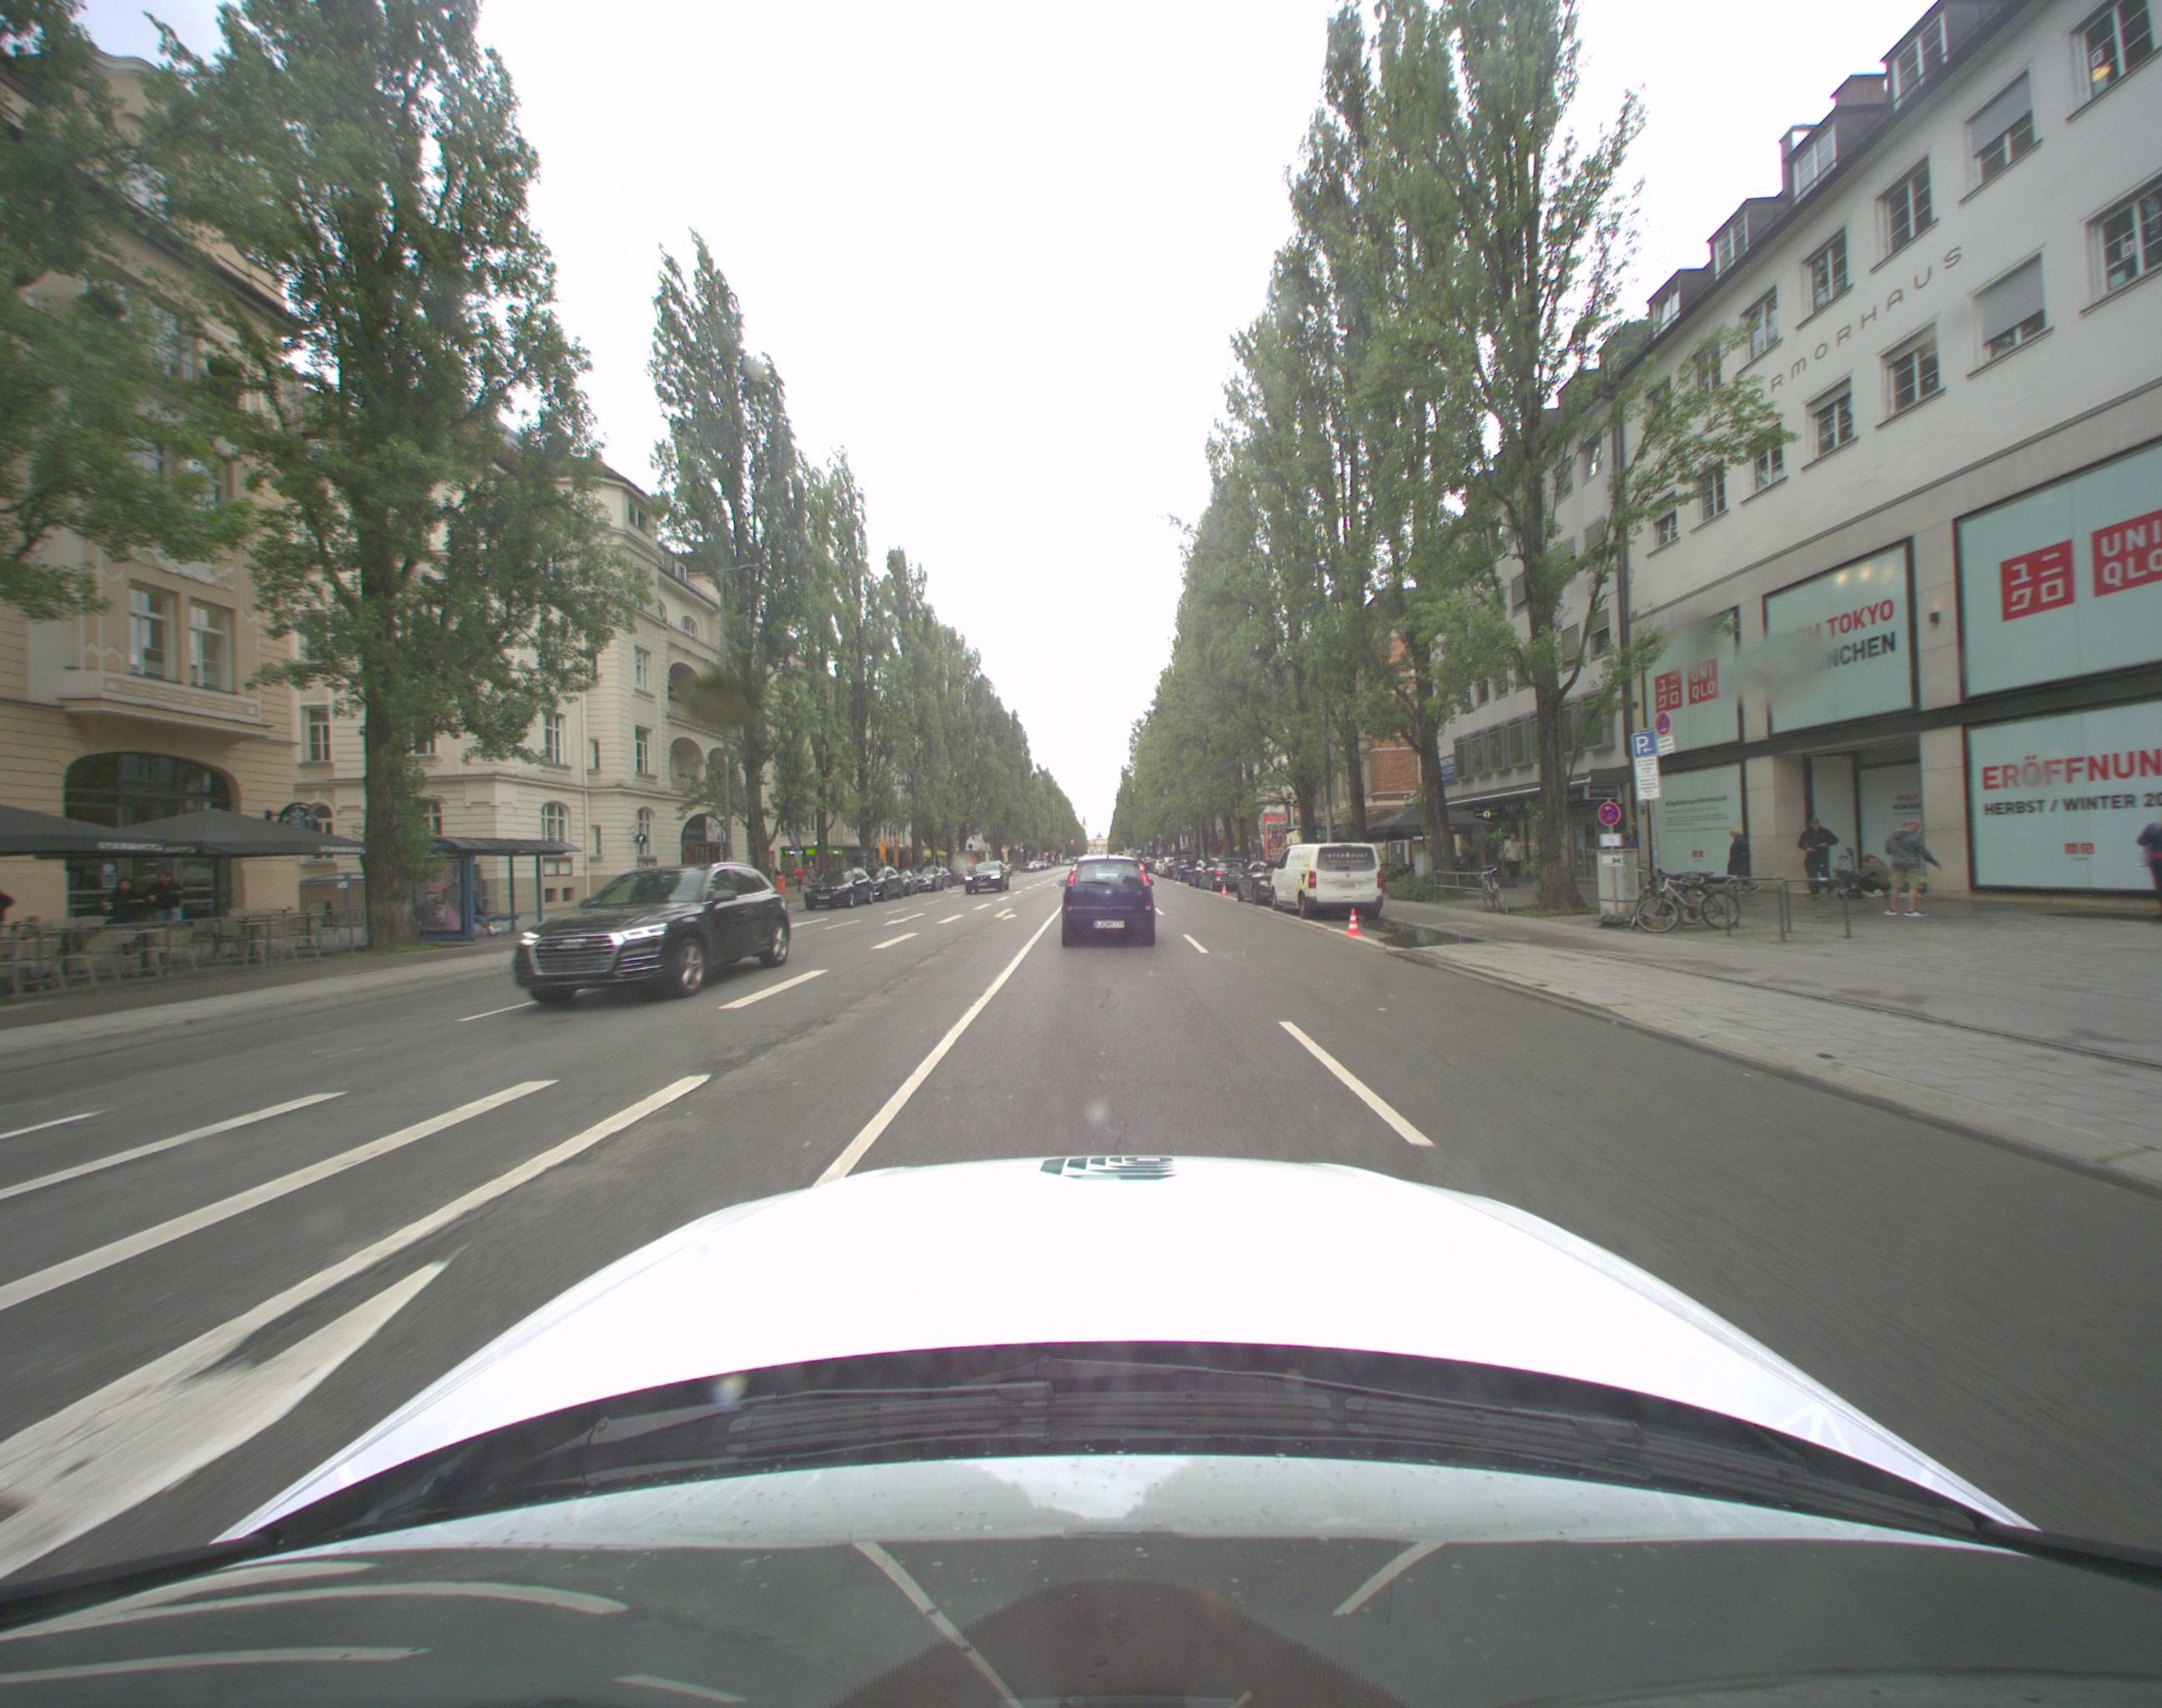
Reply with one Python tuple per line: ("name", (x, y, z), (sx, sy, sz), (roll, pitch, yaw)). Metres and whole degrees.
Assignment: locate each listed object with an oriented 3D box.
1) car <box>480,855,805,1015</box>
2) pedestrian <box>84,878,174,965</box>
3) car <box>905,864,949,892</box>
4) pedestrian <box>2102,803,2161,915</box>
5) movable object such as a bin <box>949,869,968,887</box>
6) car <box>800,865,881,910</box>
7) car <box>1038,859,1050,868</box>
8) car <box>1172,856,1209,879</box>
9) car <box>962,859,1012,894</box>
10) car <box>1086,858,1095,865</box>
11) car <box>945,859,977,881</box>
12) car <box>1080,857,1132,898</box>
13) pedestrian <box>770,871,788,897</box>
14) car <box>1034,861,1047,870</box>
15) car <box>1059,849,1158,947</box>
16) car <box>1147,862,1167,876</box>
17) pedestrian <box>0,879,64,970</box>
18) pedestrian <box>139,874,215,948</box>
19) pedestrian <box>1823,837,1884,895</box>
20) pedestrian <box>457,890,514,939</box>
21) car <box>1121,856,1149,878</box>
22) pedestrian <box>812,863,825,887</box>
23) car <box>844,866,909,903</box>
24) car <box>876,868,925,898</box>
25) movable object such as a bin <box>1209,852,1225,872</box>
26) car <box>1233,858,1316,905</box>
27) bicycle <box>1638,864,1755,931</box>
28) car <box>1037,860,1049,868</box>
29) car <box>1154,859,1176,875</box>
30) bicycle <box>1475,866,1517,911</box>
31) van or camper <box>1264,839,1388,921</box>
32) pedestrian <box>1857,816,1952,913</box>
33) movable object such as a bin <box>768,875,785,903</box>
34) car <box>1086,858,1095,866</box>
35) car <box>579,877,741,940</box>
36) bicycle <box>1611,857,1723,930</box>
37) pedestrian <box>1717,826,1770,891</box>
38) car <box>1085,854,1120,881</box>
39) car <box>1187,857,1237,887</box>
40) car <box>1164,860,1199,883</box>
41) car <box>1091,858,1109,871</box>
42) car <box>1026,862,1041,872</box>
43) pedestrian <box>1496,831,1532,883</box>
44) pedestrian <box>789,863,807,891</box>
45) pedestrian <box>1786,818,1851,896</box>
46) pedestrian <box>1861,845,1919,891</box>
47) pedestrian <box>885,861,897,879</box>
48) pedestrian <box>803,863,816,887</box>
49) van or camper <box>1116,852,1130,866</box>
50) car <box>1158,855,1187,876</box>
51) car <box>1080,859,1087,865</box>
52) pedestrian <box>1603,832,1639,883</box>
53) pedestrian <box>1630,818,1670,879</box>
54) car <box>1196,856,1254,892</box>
("car", (-5.632, 0.902, 11.315), (1.906, 1.680, 4.587), (-2, 0, 1))
("pedestrian", (-19.685, 1.382, 16.864), (0.901, 1.744, 0.822), (-1, -1, 6))
("car", (-9.379, 1.428, 49.789), (1.775, 1.575, 4.133), (-2, 0, 1))
("pedestrian", (16.363, 0.069, 12.286), (0.649, 1.663, 0.963), (-2, -1, 2))
("movable object such as a bin", (-9.227, 1.817, 61.174), (1.272, 1.310, 0.902), (0, 0, 1))
("car", (-10.024, 1.351, 34.334), (1.813, 1.618, 4.717), (-3, 0, 2))
("car", (-7.312, 1.846, 160.654), (1.987, 1.662, 4.000), (-2, 0, 0))
("car", (7.144, 0.854, 53.432), (1.744, 1.405, 4.463), (-2, 0, 0))
("car", (-4.880, 1.137, 42.927), (1.928, 1.623, 4.337), (-4, 0, 1))
("car", (2.049, 1.705, 180.590), (1.955, 1.399, 3.779), (-2, 0, 1))
("car", (-9.788, 1.274, 66.729), (1.859, 1.654, 4.615), (-4, -1, 0))
("car", (1.004, 0.928, 33.749), (1.987, 1.497, 4.000), (-2, 0, 0))
("pedestrian", (-18.043, 1.781, 48.610), (0.766, 1.537, 0.805), (0, -1, 1))
("car", (-7.153, 2.012, 144.568), (1.955, 1.530, 3.999), (-2, 0, 0))
("car", (0.484, 0.759, 15.943), (1.675, 1.641, 4.000), (-1, 0, 0))
("car", (7.717, 1.514, 83.012), (1.676, 1.415, 3.583), (0, 0, 0))
("pedestrian", (-20.811, 1.347, 15.722), (1.078, 1.685, 0.989), (0, -1, 1))
("pedestrian", (-21.963, 1.368, 19.800), (0.901, 1.744, 0.822), (-2, -1, 6))
("pedestrian", (17.034, 0.263, 17.965), (0.667, 1.234, 0.685), (-2, 0, 2))
("pedestrian", (-15.957, 1.602, 21.843), (0.957, 1.256, 0.758), (-1, 0, 3))
("car", (3.964, 0.950, 60.530), (1.701, 1.574, 3.999), (-2, 0, -1))
("pedestrian", (-19.133, 1.502, 59.304), (0.623, 1.721, 0.827), (-2, -1, 0))
("car", (-9.813, 1.418, 39.440), (1.796, 1.594, 4.632), (-3, 0, 1))
("car", (-9.796, 1.541, 44.564), (1.680, 1.424, 4.684), (-4, 0, -2))
("movable object such as a bin", (11.937, 0.708, 71.757), (1.030, 1.703, 1.585), (-2, -1, -3))
("car", (6.306, 0.862, 27.026), (1.714, 1.442, 4.352), (0, 0, -1))
("bicycle", (10.466, 0.725, 13.859), (1.757, 1.044, 0.482), (-2, -1, -9))
("car", (-7.178, 1.862, 153.828), (1.955, 1.549, 3.779), (-2, 0, 1))
("car", (7.770, 1.192, 75.936), (1.665, 1.406, 4.127), (0, 0, 1))
("bicycle", (10.162, 0.820, 19.985), (0.362, 1.038, 1.735), (-2, 0, 9))
("van or camper", (6.332, 0.623, 21.663), (1.862, 1.883, 4.904), (-1, 0, 1))
("pedestrian", (14.785, 0.183, 14.659), (0.974, 1.673, 0.831), (-2, -1, 30))
("movable object such as a bin", (-14.851, 1.718, 39.731), (0.602, 1.316, 0.586), (-2, -1, 1))
("car", (2.191, 1.738, 187.117), (1.829, 1.761, 3.779), (-2, 0, 1))
("car", (-10.734, 1.340, 21.144), (1.871, 1.298, 4.098), (-2, 0, 3))
("bicycle", (10.456, 0.695, 14.540), (1.738, 1.110, 0.447), (-5, 0, -9))
("pedestrian", (17.057, 0.120, 20.983), (0.667, 1.609, 0.829), (-2, -1, 1))
("car", (1.274, 0.817, 49.251), (1.987, 1.497, 4.000), (-2, 0, 0))
("car", (6.863, 0.901, 43.127), (1.872, 1.432, 4.804), (-2, 0, 0))
("car", (7.363, 1.263, 60.067), (1.987, 1.565, 4.483), (-2, 0, 1))
("car", (2.232, 1.228, 96.489), (1.987, 1.497, 4.000), (-2, 0, 0))
("car", (-7.073, 1.890, 121.258), (1.824, 1.420, 3.811), (-1, -1, 1))
("pedestrian", (15.822, 0.092, 29.799), (0.821, 1.841, 1.103), (-2, -1, 12))
("pedestrian", (-17.861, 1.448, 51.427), (0.731, 1.673, 0.953), (-2, -1, 1))
("pedestrian", (17.158, 0.067, 18.954), (0.684, 1.764, 0.862), (-2, -1, -19))
("pedestrian", (17.750, 0.297, 17.878), (0.568, 0.969, 0.672), (-2, 0, 2))
("pedestrian", (-19.301, 1.640, 82.563), (0.848, 1.744, 1.148), (-2, 0, 2))
("pedestrian", (-19.786, 1.513, 59.285), (0.623, 1.721, 0.827), (-2, -1, 0))
("van or camper", (8.052, 0.883, 158.167), (2.467, 2.581, 5.846), (-2, 0, 2))
("car", (7.310, 0.905, 65.633), (1.821, 1.621, 4.747), (-1, 0, 1))
("car", (0.807, 2.322, 232.566), (1.829, 1.677, 3.779), (-2, 0, 1))
("pedestrian", (17.186, 0.109, 25.948), (0.666, 1.609, 0.773), (-1, -1, 8))
("pedestrian", (17.338, -0.164, 24.841), (0.861, 1.829, 0.841), (-2, -1, 29))
("car", (6.640, 0.894, 38.022), (1.812, 1.506, 4.229), (-2, 0, -2))
